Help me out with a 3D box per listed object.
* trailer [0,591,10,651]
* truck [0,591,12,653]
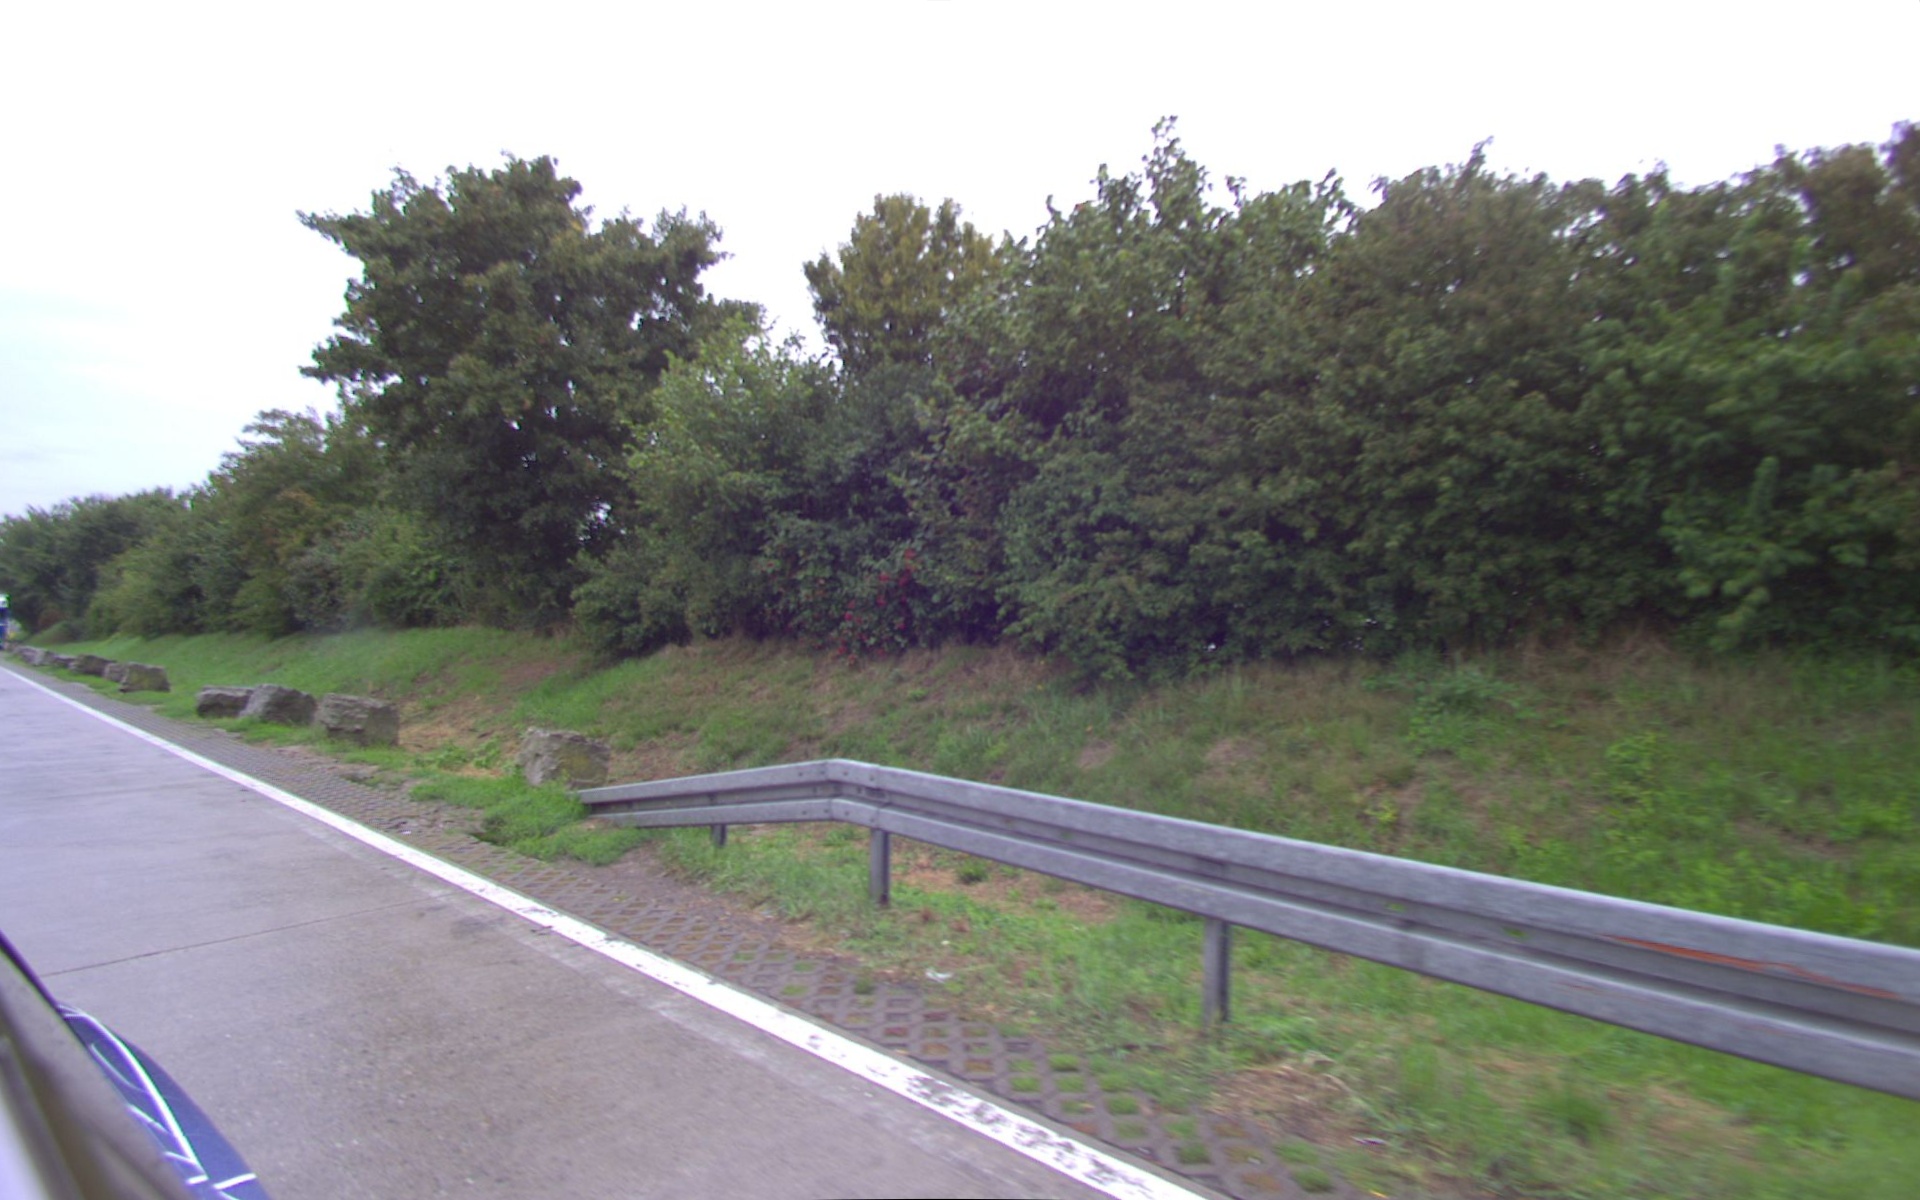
[{"bbox_3d":[-75.939,1.647,77.965,13.769,4.420,3.199,-2,-3,44],"label":"trailer"},{"bbox_3d":[-71.254,1.586,73.377,6.315,4.420,3.199,-2,-3,44],"label":"truck"}]
